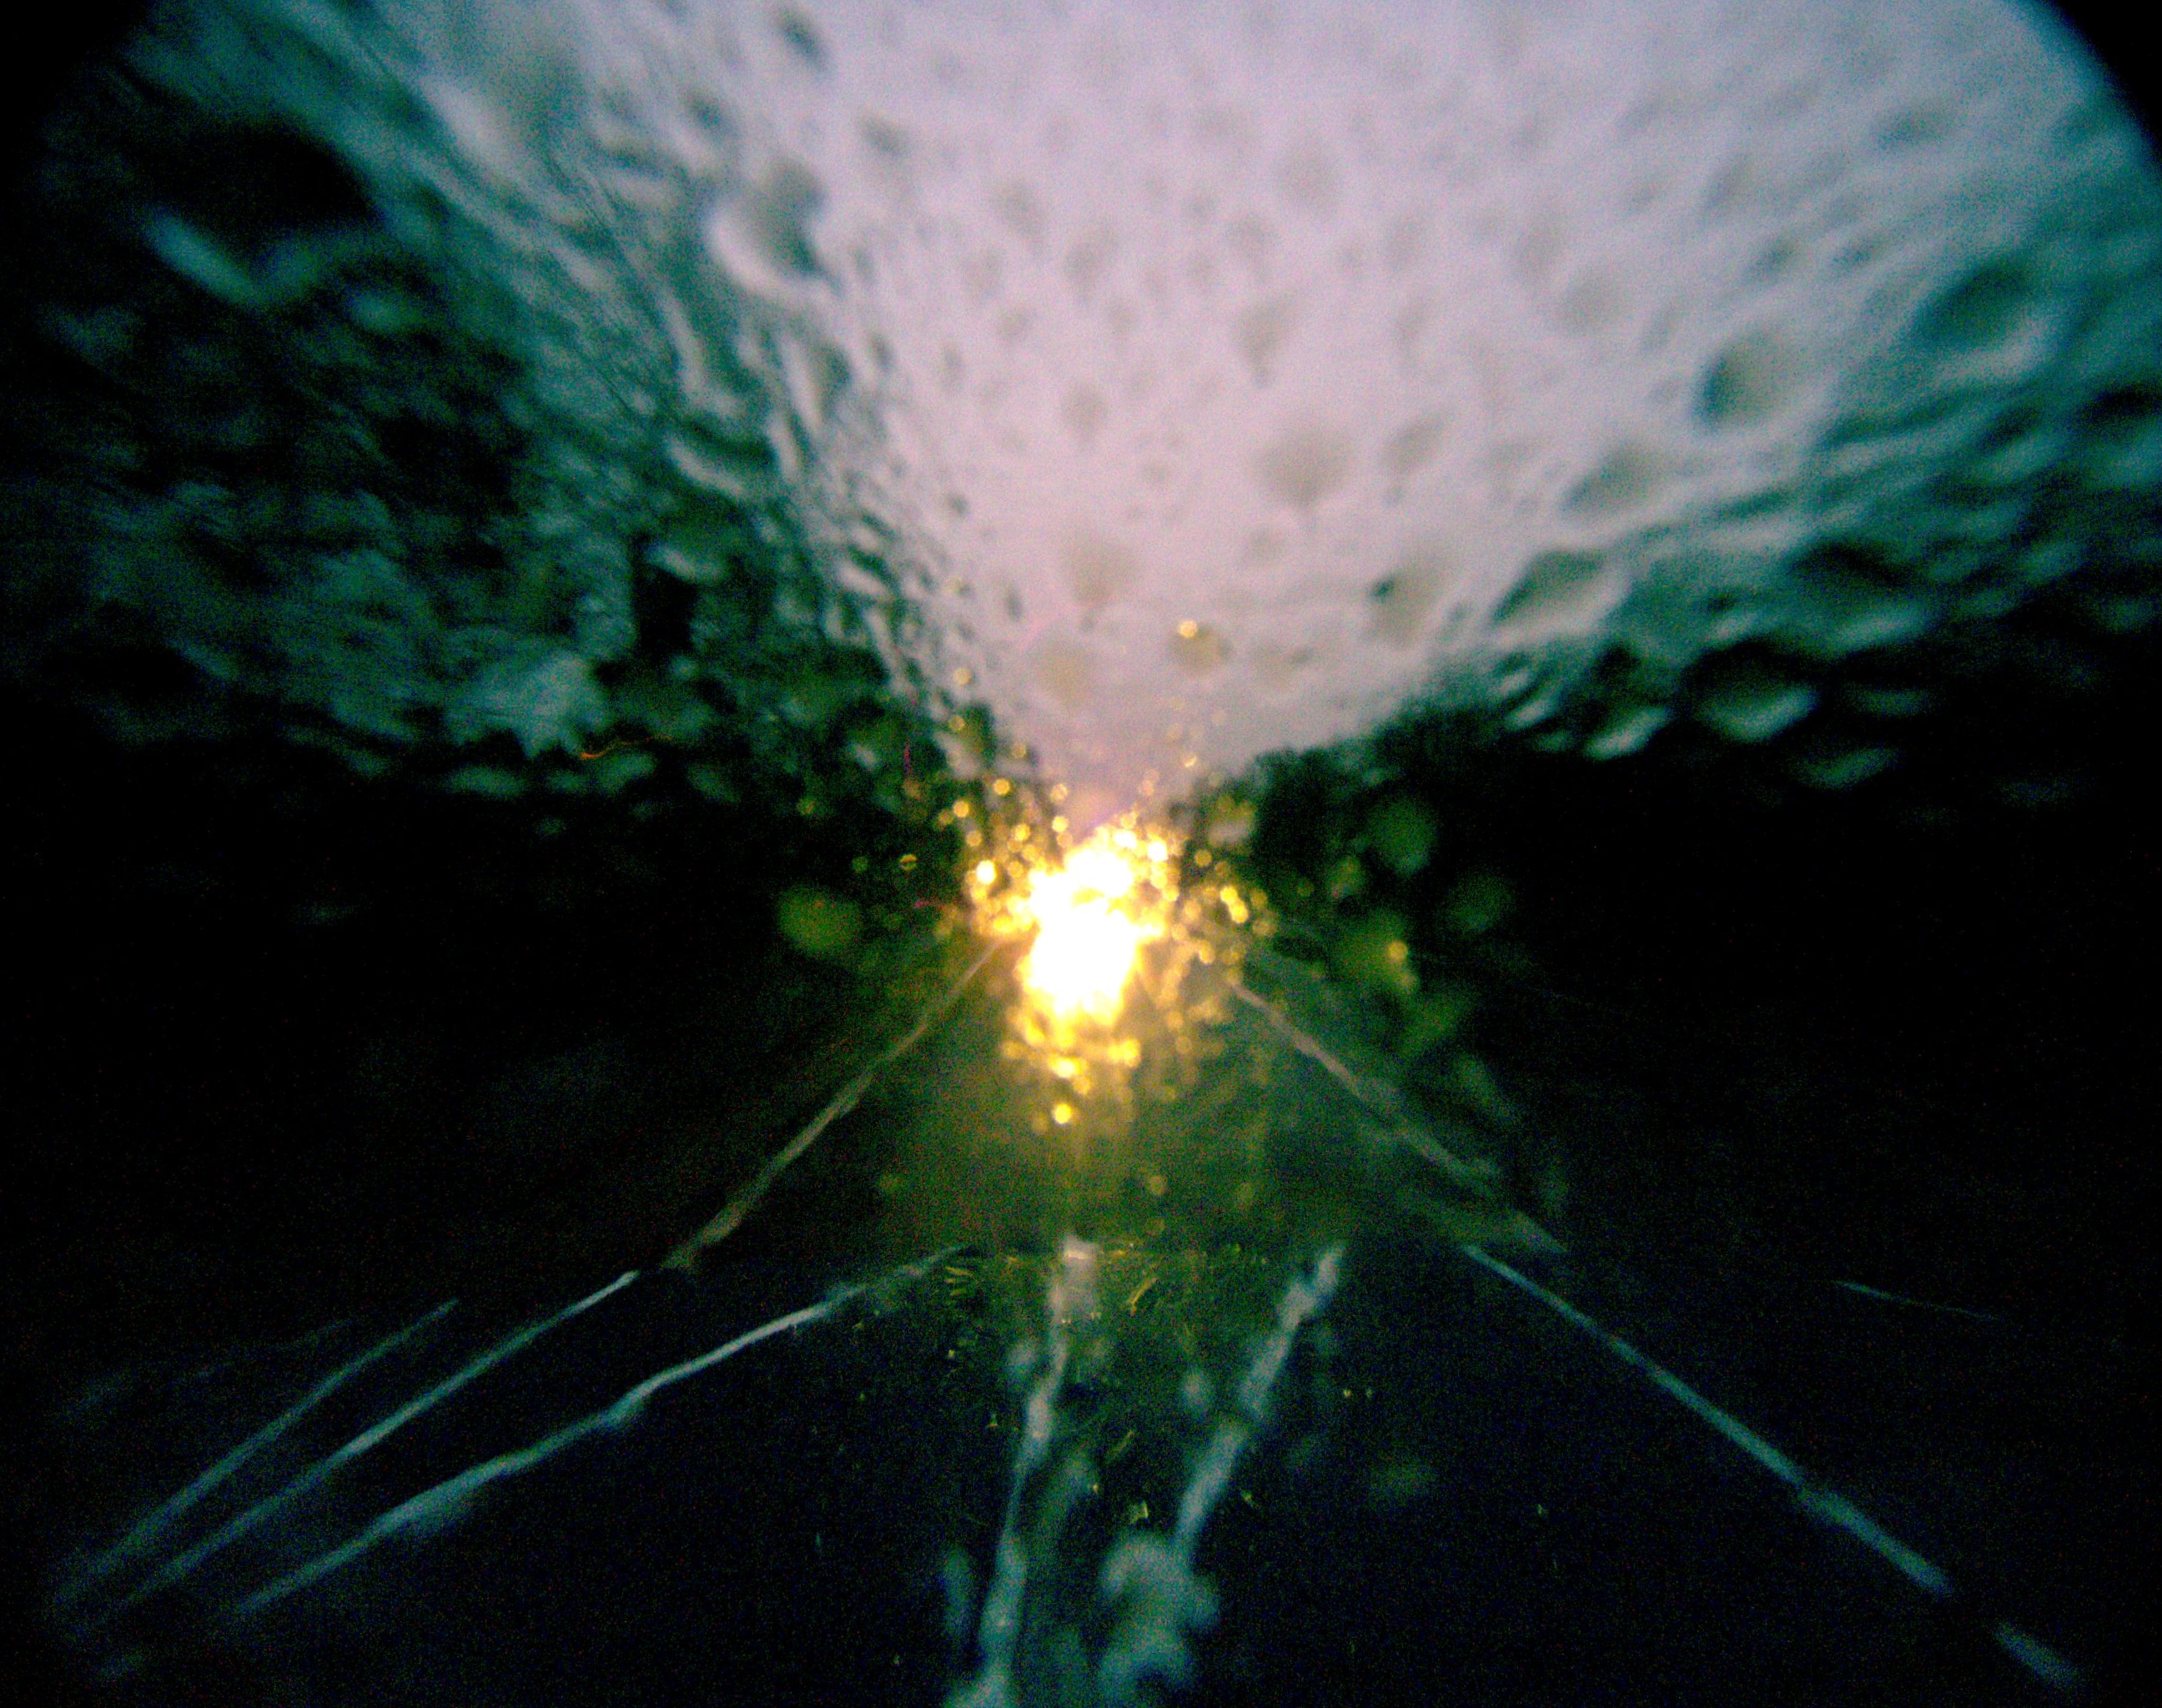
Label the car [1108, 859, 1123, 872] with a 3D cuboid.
[{"bbox_3d":[4.475,1.536,98.897,1.698,1.551,4.130,-2,-1,1],"label":"car"}]

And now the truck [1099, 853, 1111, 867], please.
[{"bbox_3d":[4.906,1.188,154.609,2.108,2.755,6.871,-2,0,0],"label":"truck"}]

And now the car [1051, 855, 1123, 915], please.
[{"bbox_3d":[0.179,0.891,23.946,1.998,1.672,4.000,-2,0,0],"label":"car"}]
